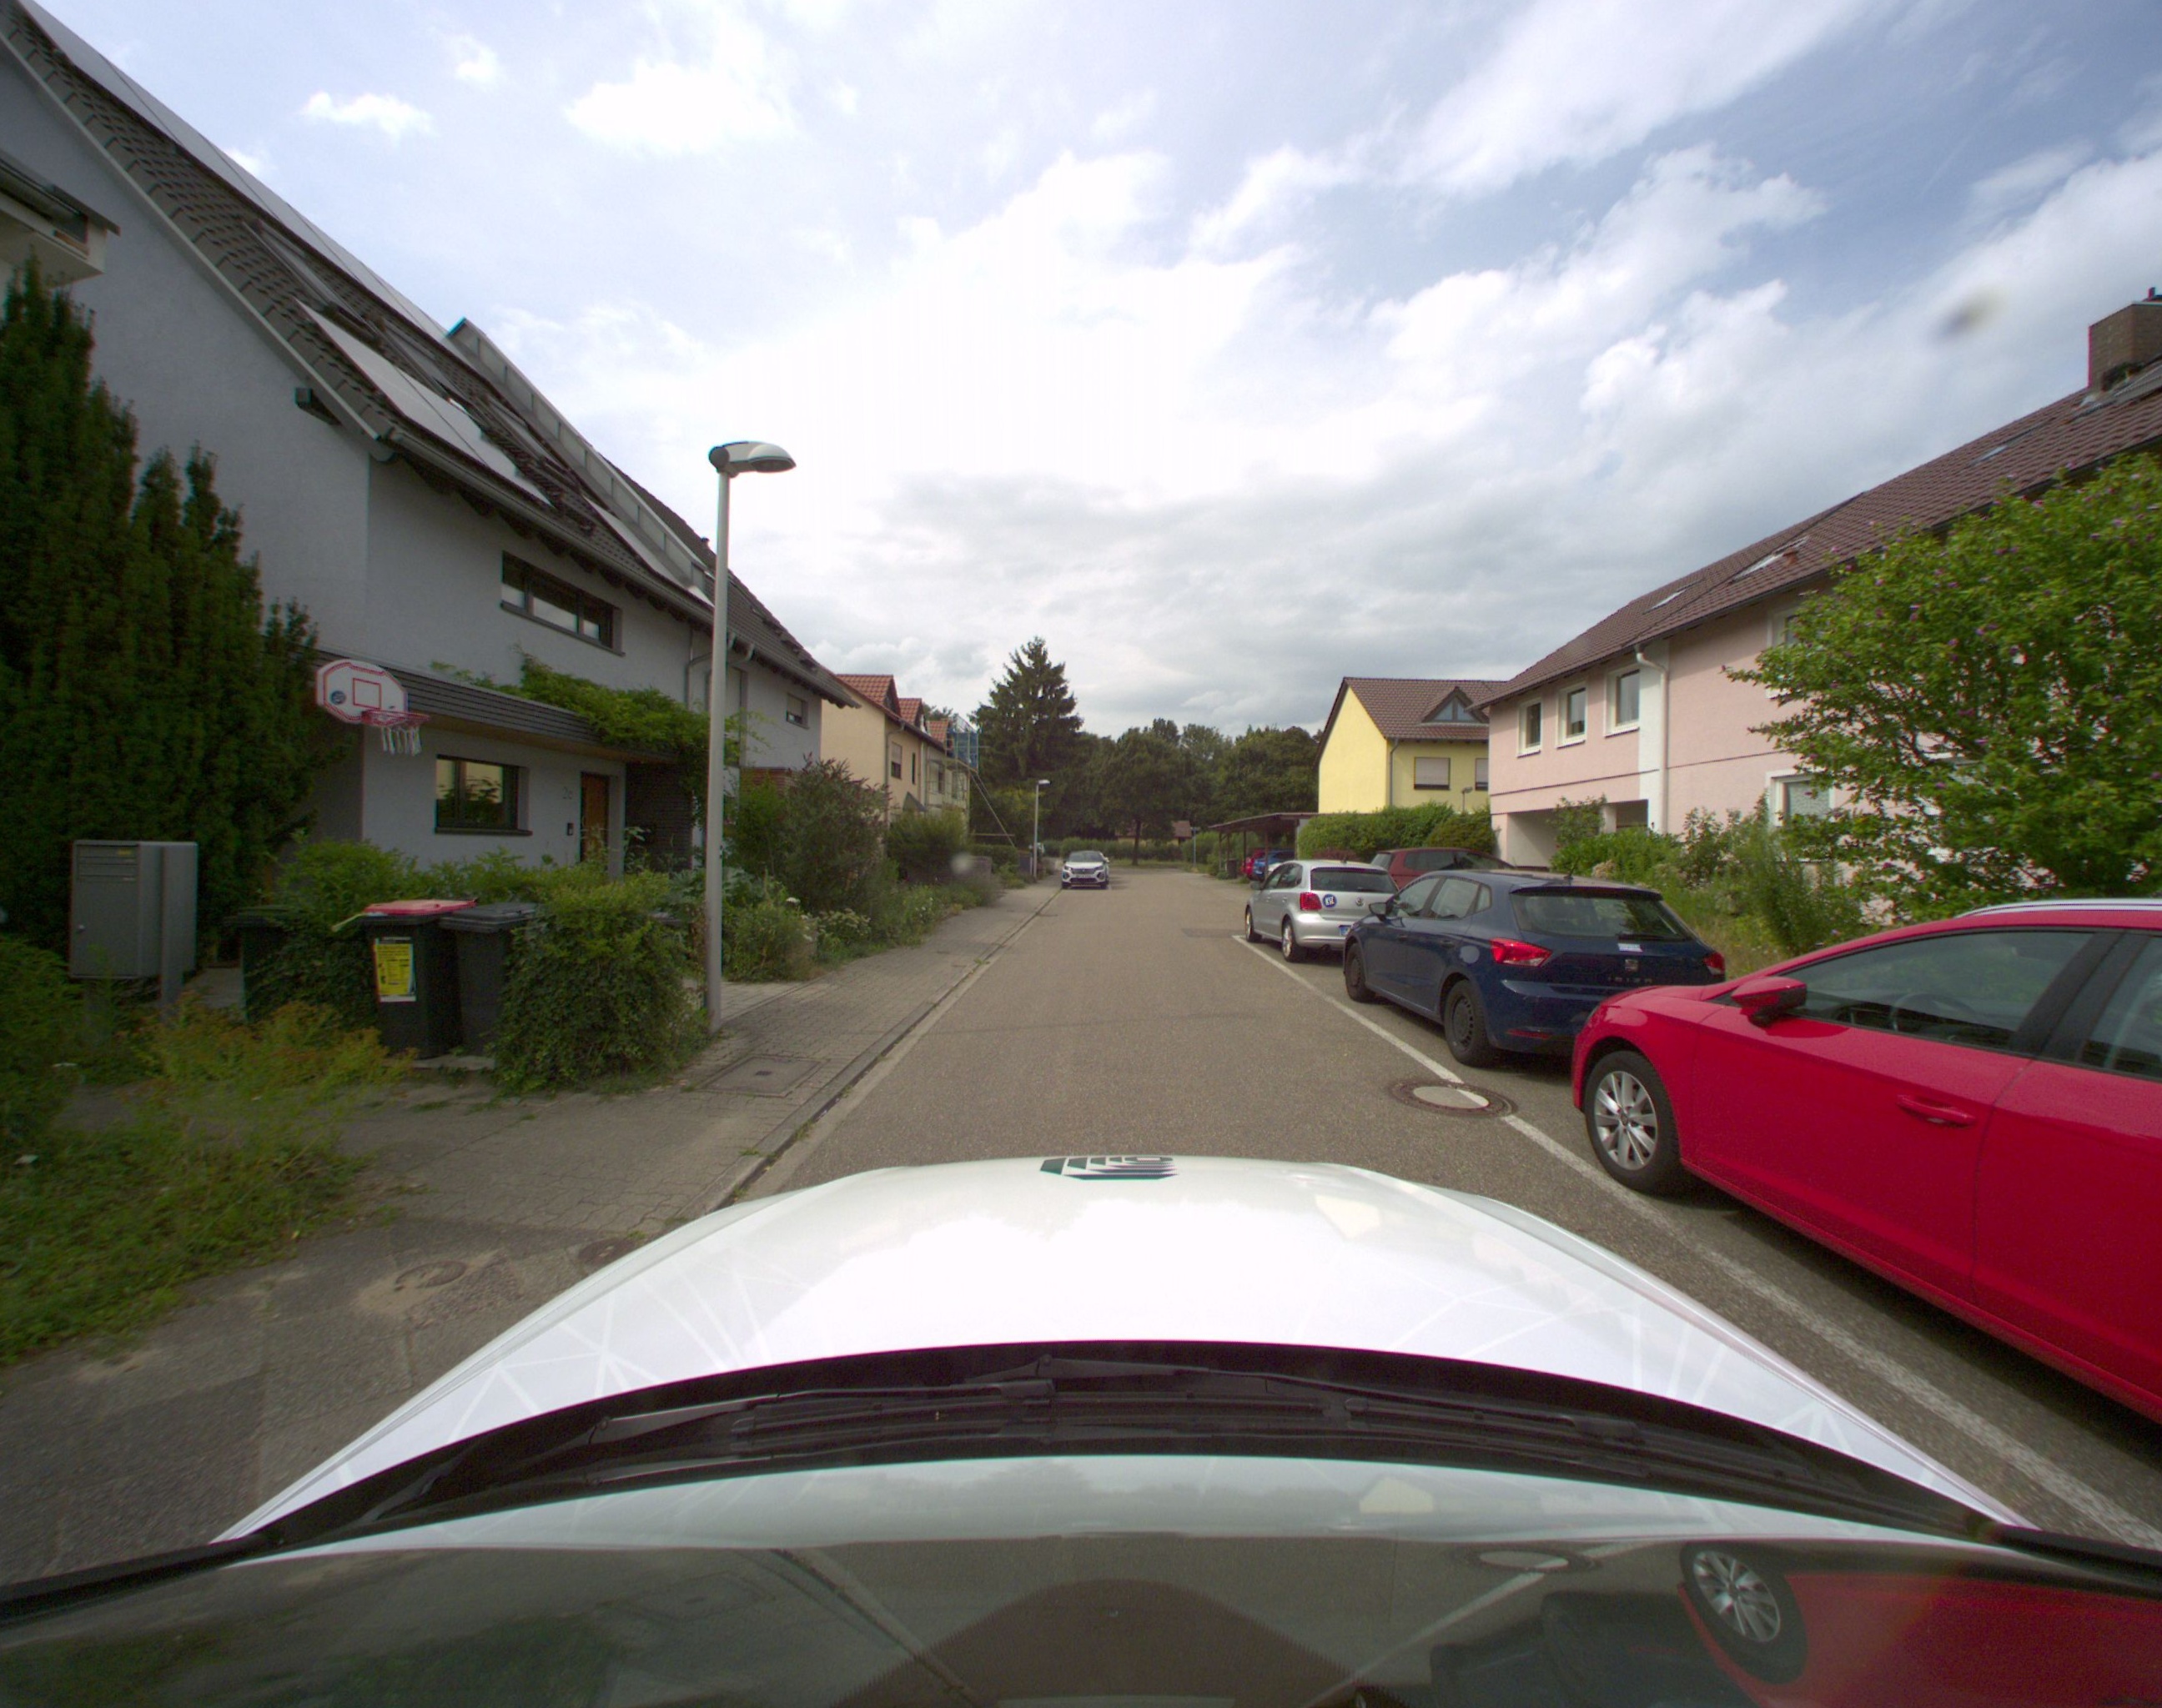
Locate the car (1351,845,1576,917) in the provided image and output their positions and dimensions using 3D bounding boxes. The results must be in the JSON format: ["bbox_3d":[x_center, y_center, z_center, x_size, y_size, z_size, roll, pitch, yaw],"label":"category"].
[{"bbox_3d":[8.594,0.587,18.586,4.253,1.560,1.935,0,0,2],"label":"car"}]

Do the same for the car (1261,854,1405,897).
[{"bbox_3d":[8.745,0.715,28.494,4.436,1.433,2.027,0,0,-1],"label":"car"}]

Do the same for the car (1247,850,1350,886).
[{"bbox_3d":[9.577,0.588,36.023,4.034,1.522,1.949,0,0,-1],"label":"car"}]

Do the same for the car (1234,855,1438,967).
[{"bbox_3d":[3.768,0.757,12.866,1.859,1.417,4.252,1,0,-1],"label":"car"}]

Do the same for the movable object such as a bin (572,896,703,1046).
[{"bbox_3d":[-3.295,0.848,6.103,0.599,1.027,0.665,0,0,2],"label":"movable object such as a bin"}]

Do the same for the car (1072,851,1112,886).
[{"bbox_3d":[0.564,0.660,39.248,1.803,1.562,4.849,0,0,1],"label":"car"}]

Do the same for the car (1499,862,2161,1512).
[{"bbox_3d":[3.371,0.802,2.535,1.767,1.436,4.828,2,0,2],"label":"car"}]

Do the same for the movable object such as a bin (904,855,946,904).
[{"bbox_3d":[-4.250,0.681,22.226,0.946,1.312,1.001,0,0,1],"label":"movable object such as a bin"}]

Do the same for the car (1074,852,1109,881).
[{"bbox_3d":[0.630,0.652,44.709,1.785,1.531,4.142,0,0,2],"label":"car"}]

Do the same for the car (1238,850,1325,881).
[{"bbox_3d":[10.034,0.559,40.938,3.946,1.540,1.838,0,0,-1],"label":"car"}]

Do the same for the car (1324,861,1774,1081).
[{"bbox_3d":[3.642,0.767,7.367,1.766,1.356,4.268,0,0,2],"label":"car"}]

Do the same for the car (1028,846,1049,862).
[{"bbox_3d":[-4.710,-0.017,90.658,1.930,1.660,4.343,1,0,2],"label":"car"}]

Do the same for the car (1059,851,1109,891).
[{"bbox_3d":[0.196,0.635,33.853,1.926,1.556,4.637,0,0,2],"label":"car"}]
